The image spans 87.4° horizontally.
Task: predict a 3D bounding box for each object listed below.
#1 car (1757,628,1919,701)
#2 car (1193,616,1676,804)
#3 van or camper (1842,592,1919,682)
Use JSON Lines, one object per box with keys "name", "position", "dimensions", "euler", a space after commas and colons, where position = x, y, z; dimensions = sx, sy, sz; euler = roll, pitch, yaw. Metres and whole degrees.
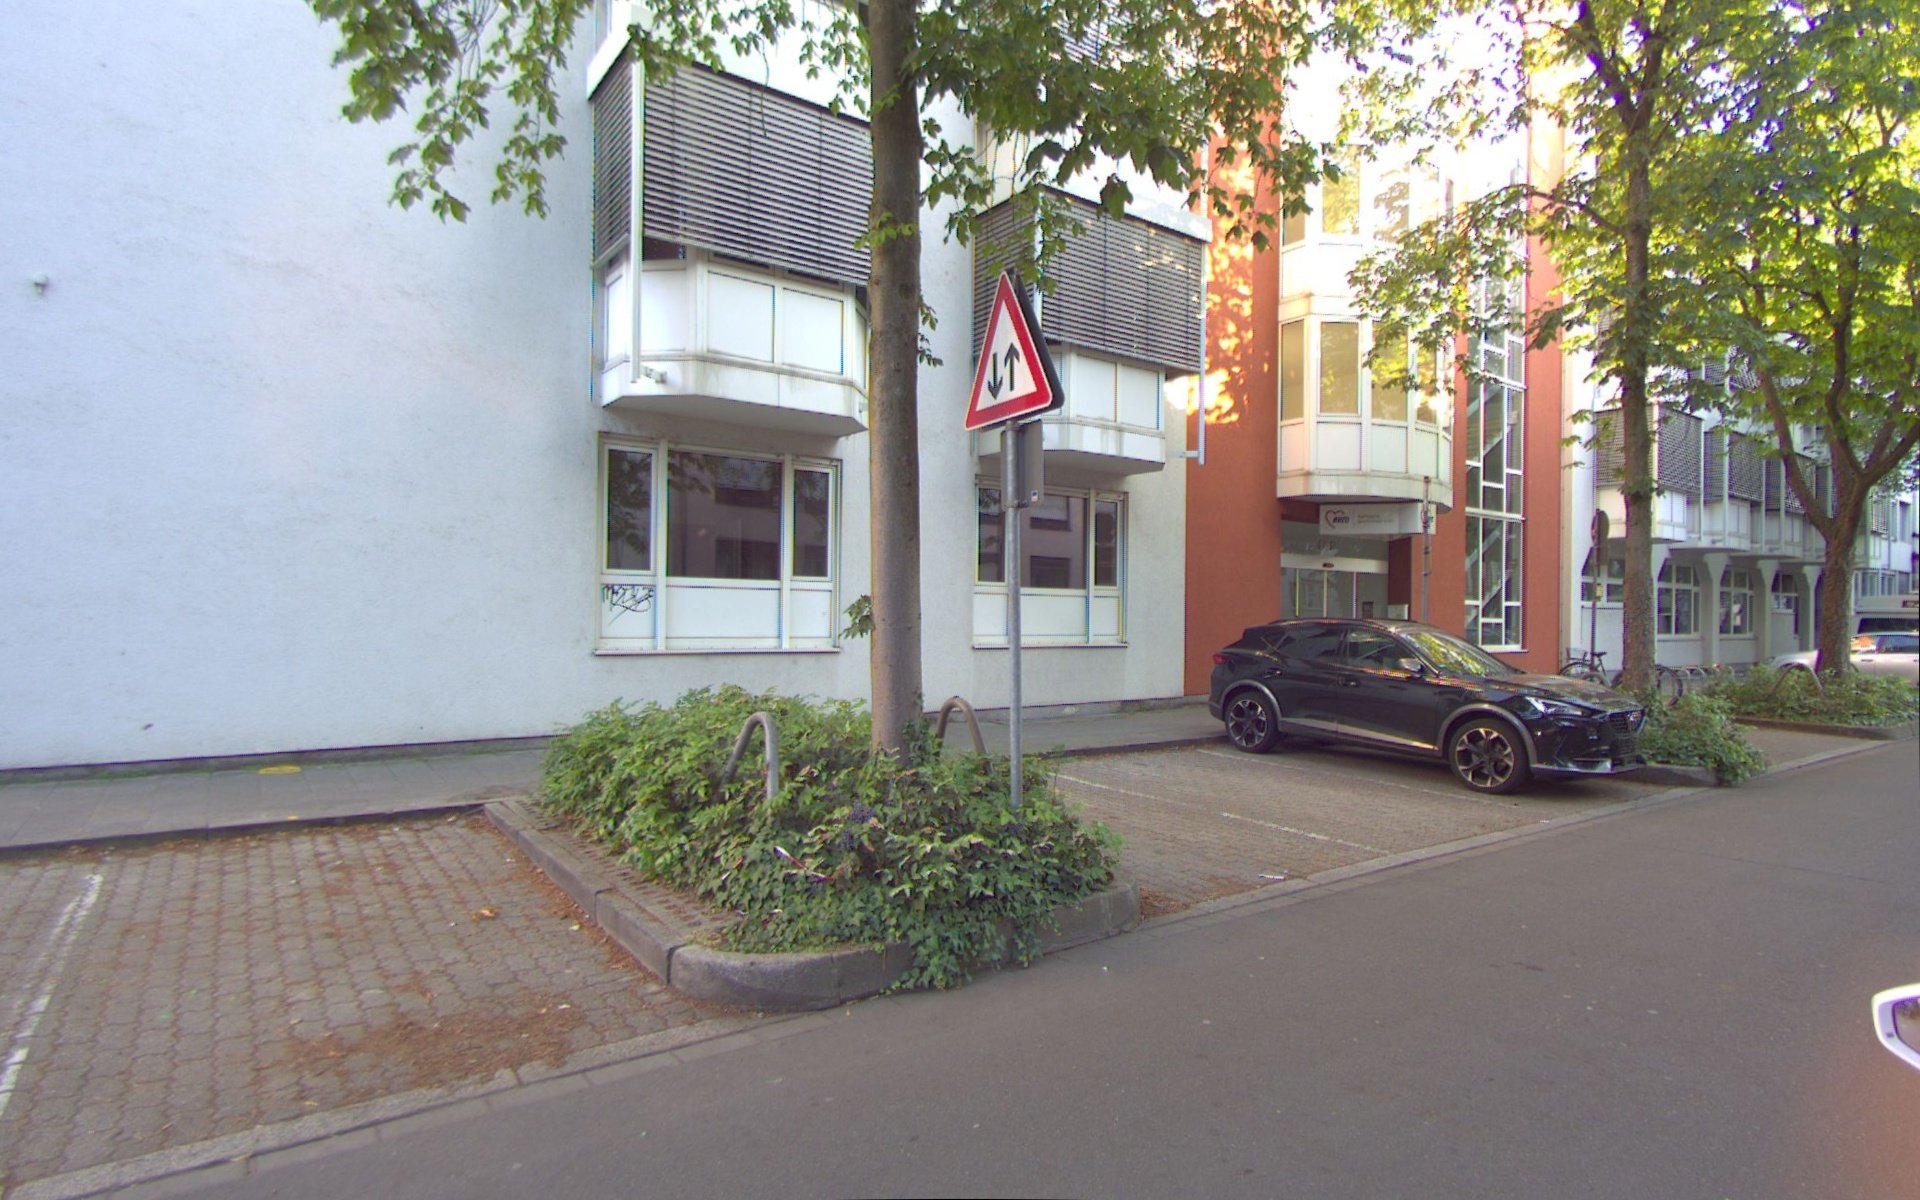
{"name": "car", "position": [21.157, 1.454, 23.234], "dimensions": [1.767, 1.537, 3.942], "euler": [1, -1, -35]}
{"name": "car", "position": [4.712, 0.958, 10.608], "dimensions": [1.768, 1.537, 4.325], "euler": [1, -1, -35]}
{"name": "van or camper", "position": [27.898, 1.037, 28.035], "dimensions": [1.981, 2.511, 4.632], "euler": [1, -1, -36]}
